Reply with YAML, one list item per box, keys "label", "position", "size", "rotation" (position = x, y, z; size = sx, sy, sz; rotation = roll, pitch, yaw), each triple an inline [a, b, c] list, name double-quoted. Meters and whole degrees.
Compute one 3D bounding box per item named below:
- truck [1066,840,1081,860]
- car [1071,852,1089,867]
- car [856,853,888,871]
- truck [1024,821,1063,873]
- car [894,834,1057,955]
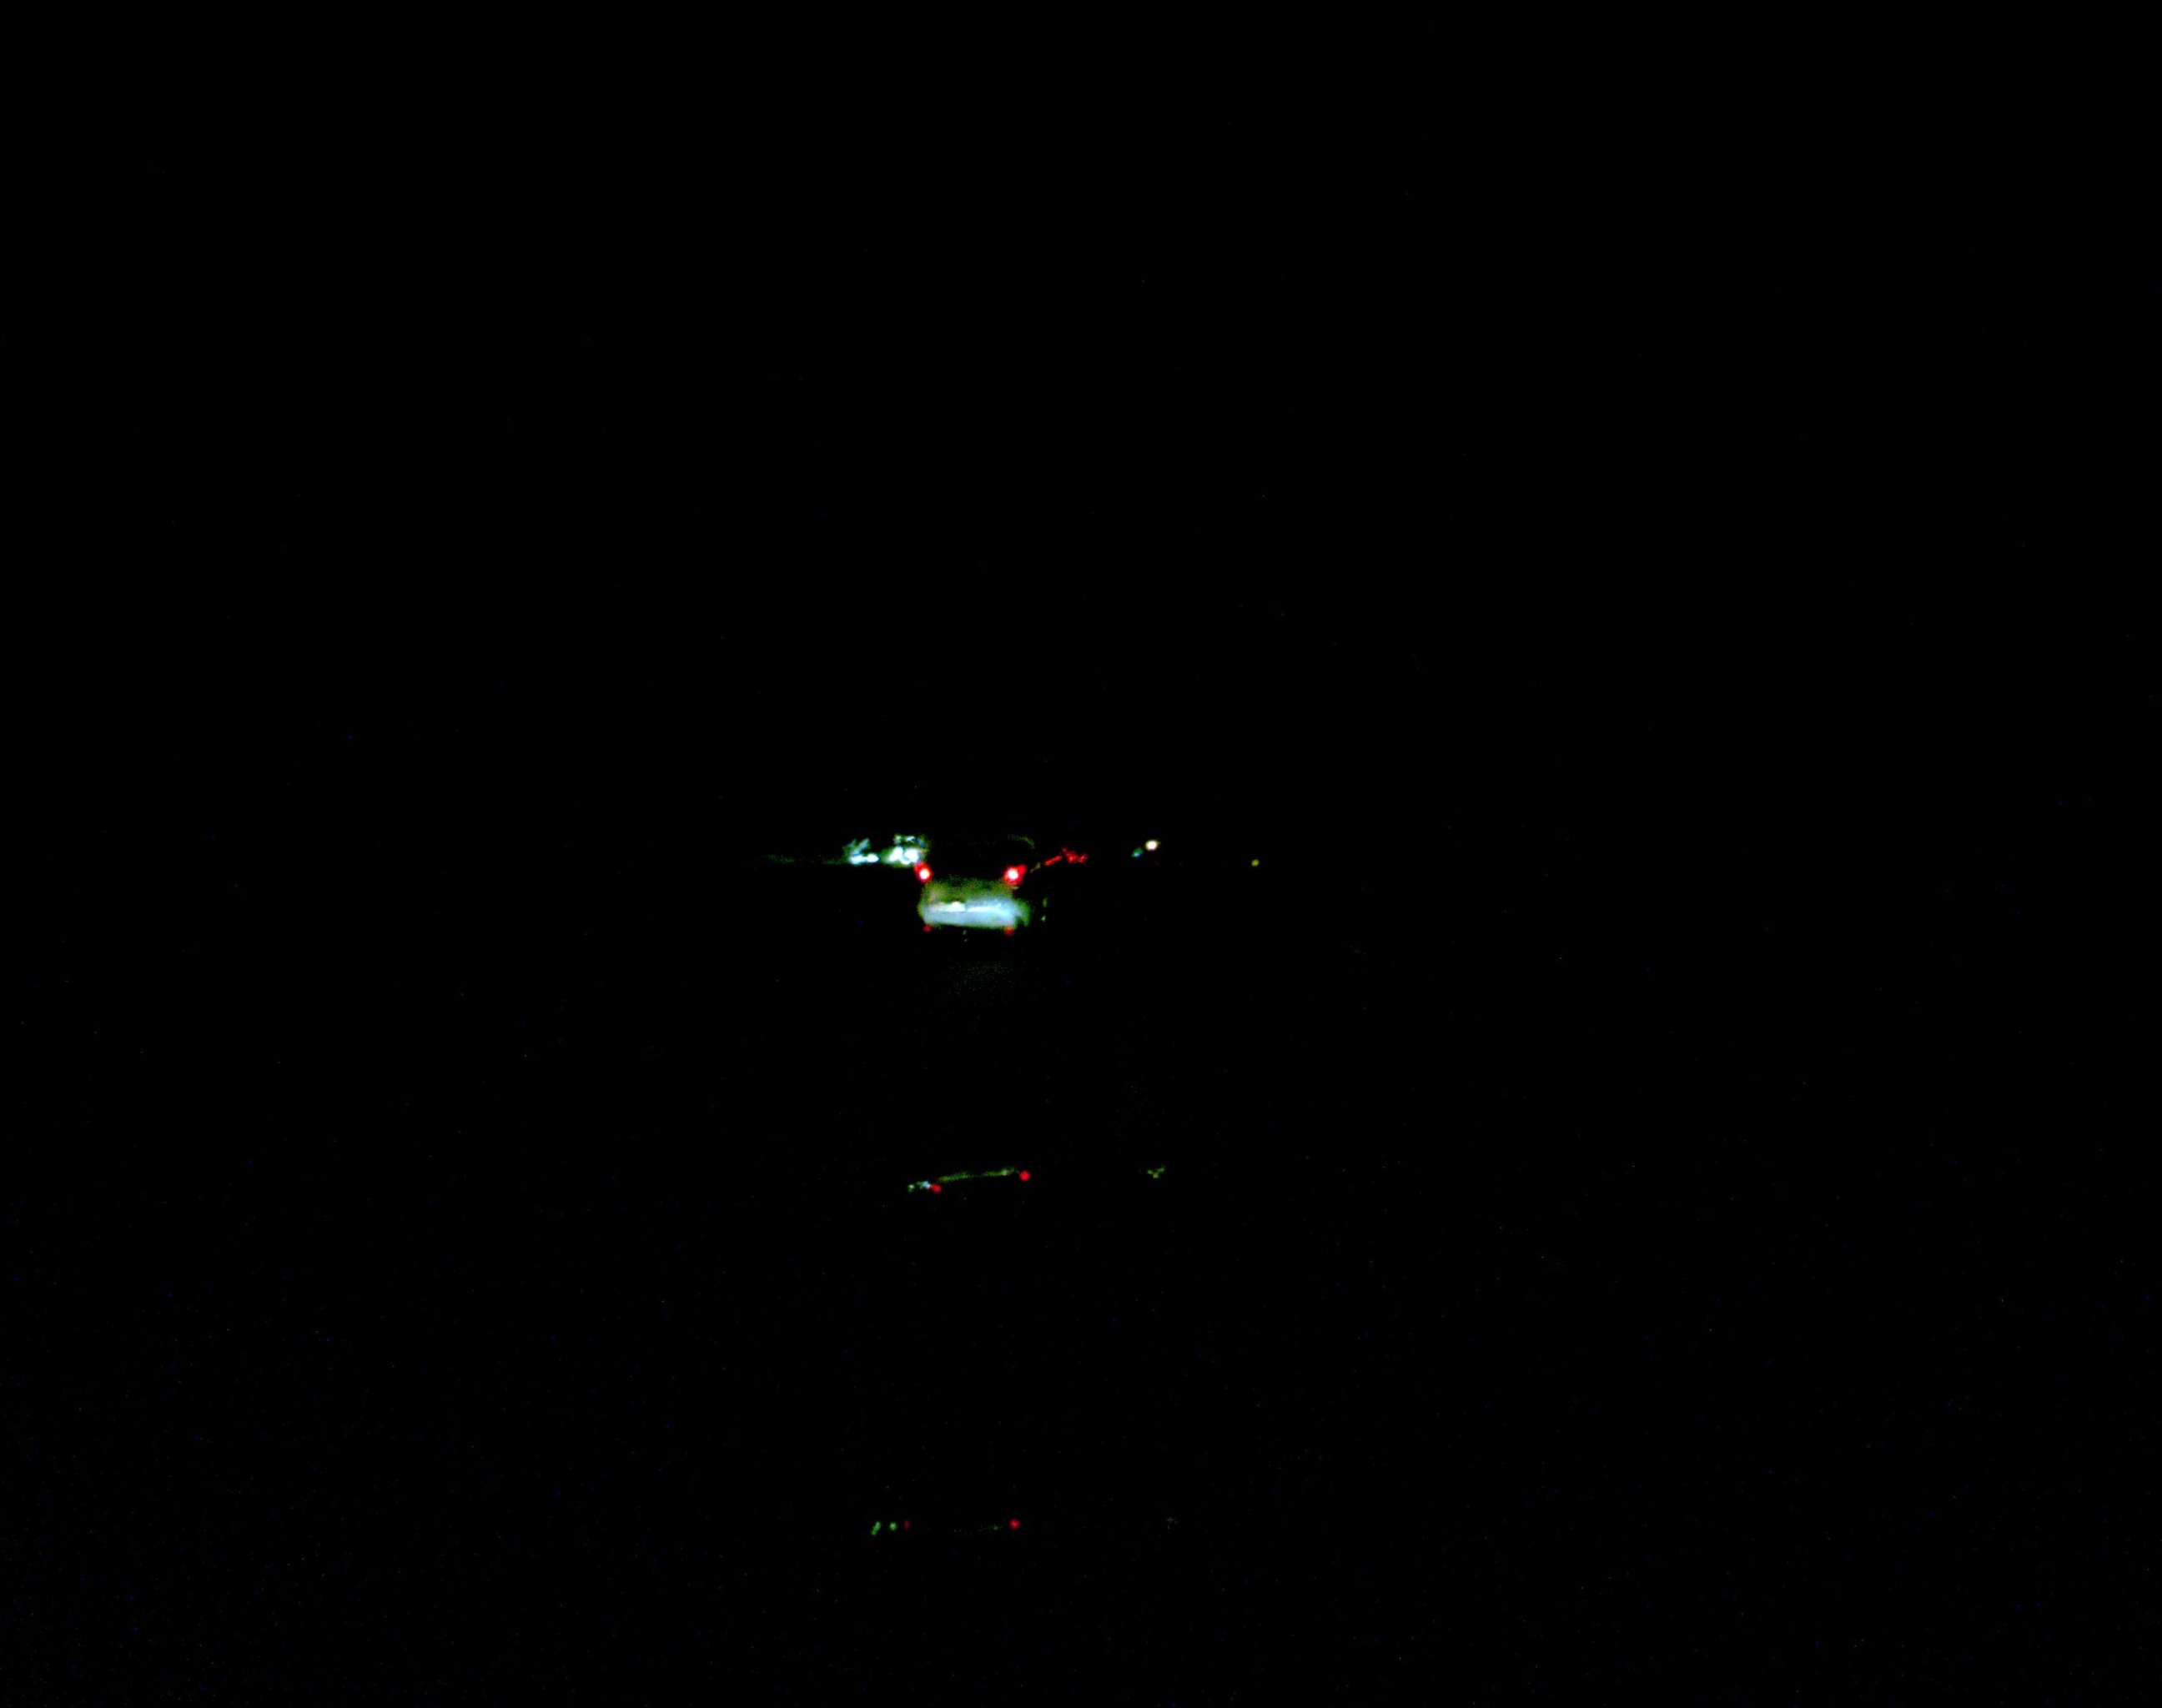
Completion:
- label: "truck"
  position: [-2.117, -1.012, 215.915]
  size: [3.813, 4.915, 11.598]
  rotation: [0, 0, -2]
- label: "car"
  position: [-0.175, 0.659, 94.355]
  size: [1.988, 1.707, 4.192]
  rotation: [0, 0, -2]
- label: "car"
  position: [-20.273, 0.757, 79.308]
  size: [1.987, 1.643, 4.253]
  rotation: [0, 0, 0]
- label: "truck"
  position: [-4.204, -0.767, 94.513]
  size: [4.156, 5.544, 13.066]
  rotation: [0, 0, -2]
- label: "car"
  position: [-1.661, 0.571, 14.708]
  size: [1.944, 1.792, 5.130]
  rotation: [0, 1, 4]
